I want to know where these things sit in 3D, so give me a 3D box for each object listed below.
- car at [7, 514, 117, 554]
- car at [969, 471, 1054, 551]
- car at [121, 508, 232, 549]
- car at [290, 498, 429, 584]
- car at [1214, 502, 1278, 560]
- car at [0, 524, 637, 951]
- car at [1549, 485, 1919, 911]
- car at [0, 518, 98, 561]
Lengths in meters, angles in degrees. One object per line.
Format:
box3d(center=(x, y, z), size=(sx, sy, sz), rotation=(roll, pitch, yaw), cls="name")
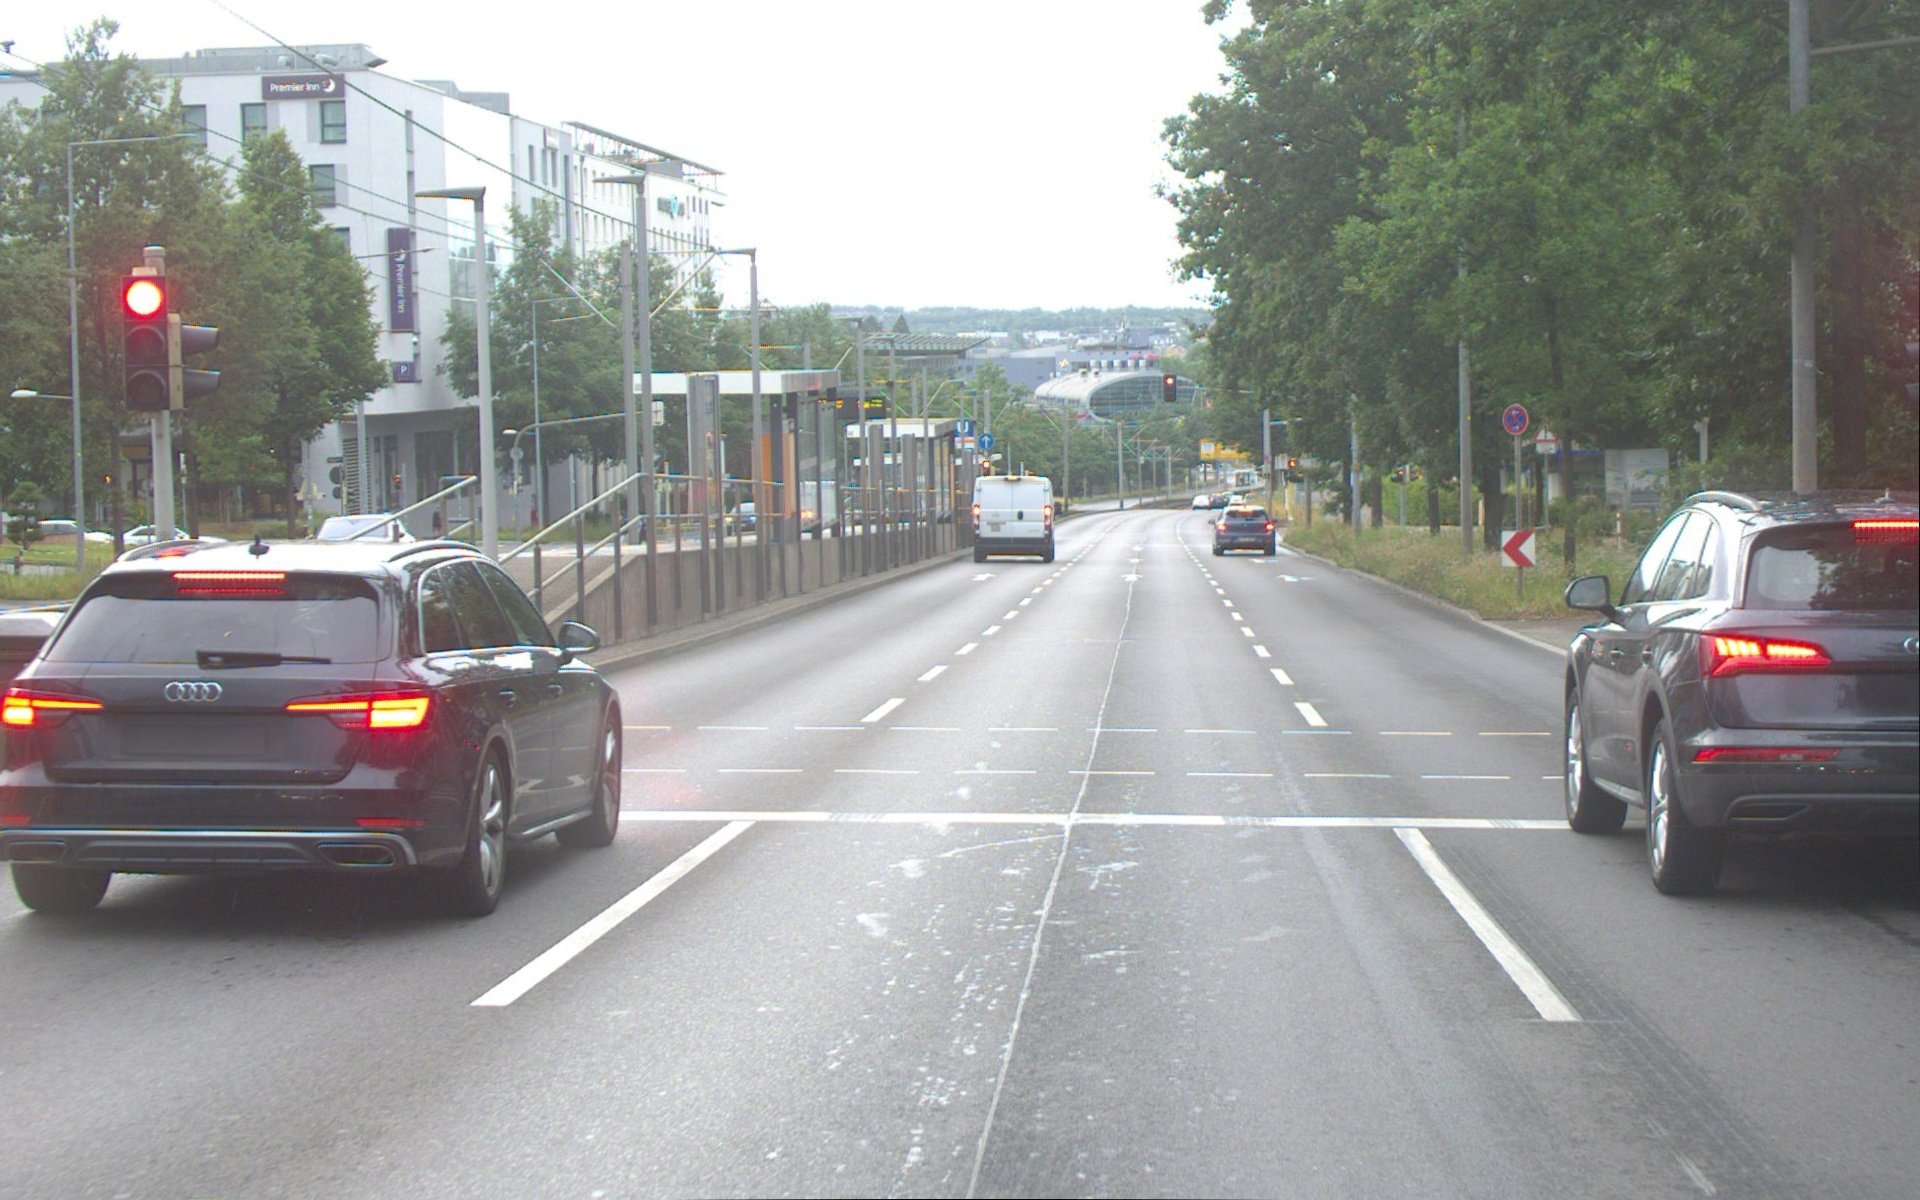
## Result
box3d(center=(-35.697, -2.632, 136.717), size=(4.088, 1.431, 1.656), rotation=(-3, 1, -11), cls="car")
box3d(center=(1.383, -2.338, 90.201), size=(2.093, 2.046, 4.606), rotation=(0, 2, 3), cls="car")
box3d(center=(-30.534, -2.778, 134.060), size=(3.867, 1.431, 1.656), rotation=(-2, 1, 0), cls="car")
box3d(center=(-12.932, -1.305, 74.351), size=(1.993, 1.713, 4.841), rotation=(-2, 1, 1), cls="car")
box3d(center=(8.429, -2.055, 101.620), size=(1.774, 1.685, 3.845), rotation=(0, 2, 3), cls="car")
box3d(center=(-2.546, 0.425, 14.212), size=(1.780, 1.461, 4.513), rotation=(0, 2, 3), cls="car")
box3d(center=(3.791, 0.311, 15.193), size=(1.818, 1.607, 4.470), rotation=(0, 2, 3), cls="car")
box3d(center=(-30.092, -1.989, 112.614), size=(3.372, 1.382, 1.432), rotation=(1, 2, 20), cls="car")
